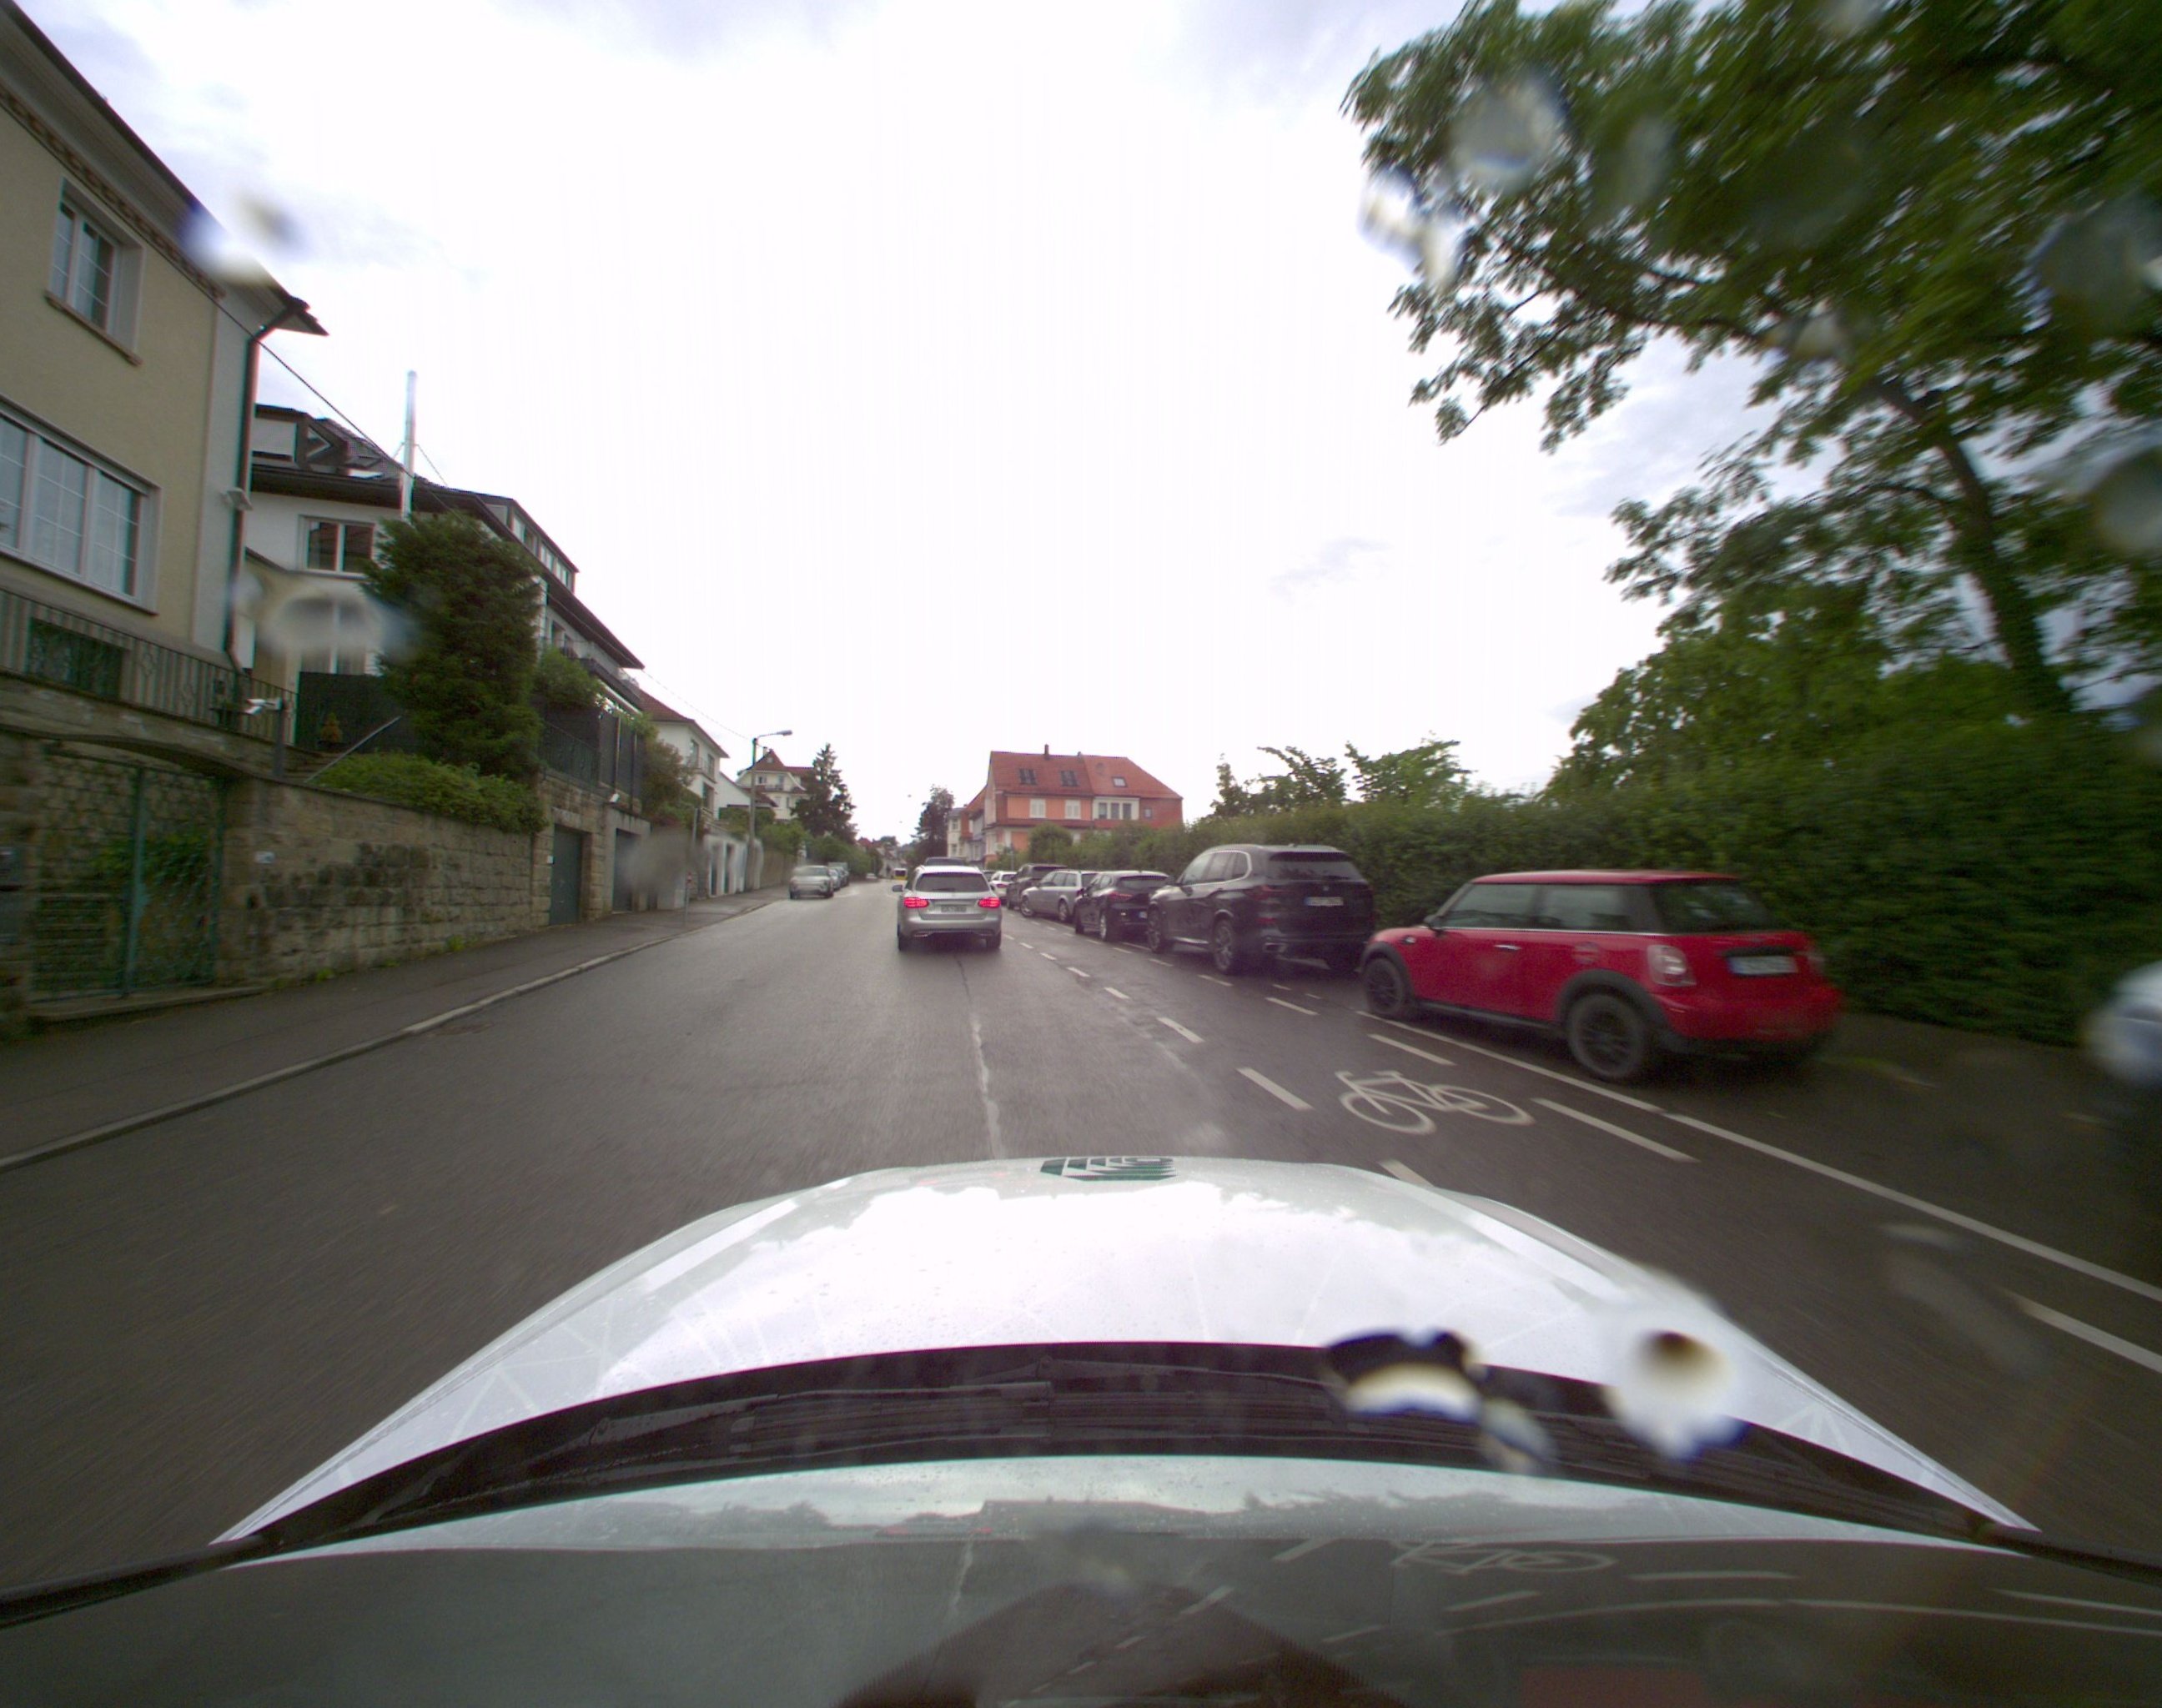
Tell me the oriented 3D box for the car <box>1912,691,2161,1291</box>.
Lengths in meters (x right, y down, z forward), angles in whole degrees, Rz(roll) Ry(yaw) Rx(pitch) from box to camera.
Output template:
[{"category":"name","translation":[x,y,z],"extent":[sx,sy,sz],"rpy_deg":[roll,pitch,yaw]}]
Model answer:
[{"category":"car","translation":[4.613,0.411,1.050],"extent":[1.858,1.948,4.796],"rpy_deg":[-2,0,-7]}]

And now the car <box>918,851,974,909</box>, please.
[{"category":"car","translation":[-5.100,0.913,30.582],"extent":[1.825,1.882,4.080],"rpy_deg":[-4,1,-11]}]

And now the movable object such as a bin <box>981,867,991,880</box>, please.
[{"category":"movable object such as a bin","translation":[-7.674,1.569,65.754],"extent":[0.712,1.030,0.753],"rpy_deg":[-2,0,-15]}]

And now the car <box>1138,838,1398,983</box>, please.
[{"category":"car","translation":[2.568,0.697,12.673],"extent":[2.029,1.783,4.876],"rpy_deg":[-1,0,-13]}]

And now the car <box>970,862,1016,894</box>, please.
[{"category":"car","translation":[-4.532,1.202,41.545],"extent":[1.756,1.530,4.185],"rpy_deg":[1,-1,-14]}]

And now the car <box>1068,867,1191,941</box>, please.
[{"category":"car","translation":[0.934,1.007,17.887],"extent":[1.690,1.422,3.966],"rpy_deg":[-1,-1,-12]}]

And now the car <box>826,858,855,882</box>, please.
[{"category":"car","translation":[-19.982,1.328,67.611],"extent":[2.134,1.860,5.561],"rpy_deg":[1,-1,-17]}]

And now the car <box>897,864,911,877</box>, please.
[{"category":"car","translation":[-34.783,3.288,160.046],"extent":[2.470,2.400,3.981],"rpy_deg":[-3,0,-13]}]

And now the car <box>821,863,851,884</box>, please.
[{"category":"car","translation":[-18.575,1.439,61.790],"extent":[1.900,1.515,4.322],"rpy_deg":[1,-1,-13]}]

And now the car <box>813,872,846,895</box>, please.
[{"category":"car","translation":[-16.249,1.891,52.767],"extent":[1.610,1.337,3.826],"rpy_deg":[1,-1,-11]}]

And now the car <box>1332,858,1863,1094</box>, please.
[{"category":"car","translation":[3.941,0.757,7.022],"extent":[1.674,1.414,3.723],"rpy_deg":[-1,0,-15]}]

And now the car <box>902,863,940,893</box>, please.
[{"category":"car","translation":[-8.634,1.230,43.679],"extent":[1.856,1.458,4.077],"rpy_deg":[-1,0,-13]}]

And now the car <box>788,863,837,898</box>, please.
[{"category":"car","translation":[-13.233,1.275,40.290],"extent":[1.901,1.567,4.218],"rpy_deg":[-2,0,-14]}]

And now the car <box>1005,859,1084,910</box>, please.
[{"category":"car","translation":[-1.404,1.044,29.220],"extent":[1.890,1.663,4.525],"rpy_deg":[1,-1,-15]}]

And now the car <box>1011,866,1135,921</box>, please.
[{"category":"car","translation":[-0.365,1.089,24.114],"extent":[1.809,1.440,4.601],"rpy_deg":[0,-1,-27]}]

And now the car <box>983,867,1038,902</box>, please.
[{"category":"car","translation":[-3.192,1.297,36.236],"extent":[1.716,1.405,4.585],"rpy_deg":[1,-1,-14]}]

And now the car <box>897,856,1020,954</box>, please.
[{"category":"car","translation":[-2.457,0.836,15.390],"extent":[1.985,1.554,4.278],"rpy_deg":[-1,-1,-13]}]
